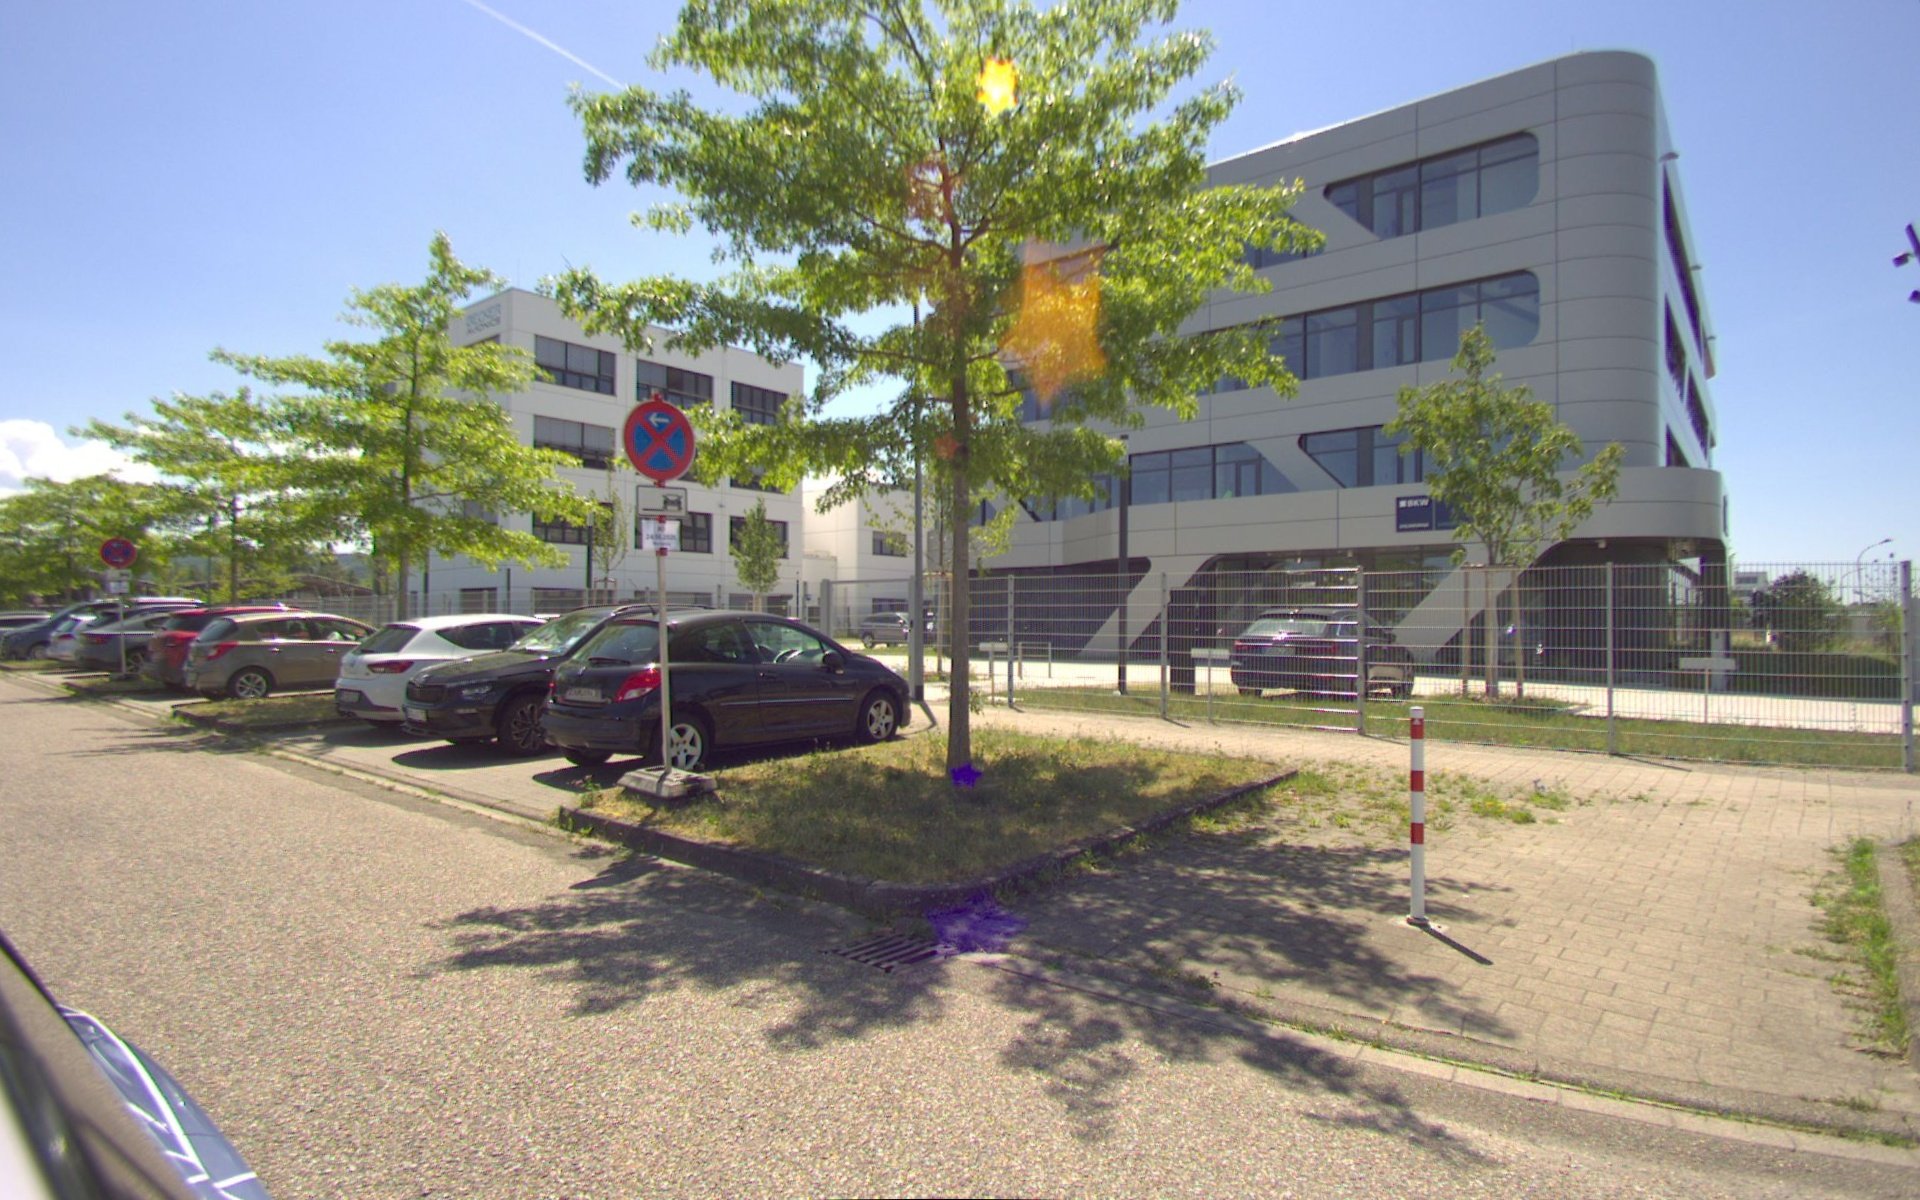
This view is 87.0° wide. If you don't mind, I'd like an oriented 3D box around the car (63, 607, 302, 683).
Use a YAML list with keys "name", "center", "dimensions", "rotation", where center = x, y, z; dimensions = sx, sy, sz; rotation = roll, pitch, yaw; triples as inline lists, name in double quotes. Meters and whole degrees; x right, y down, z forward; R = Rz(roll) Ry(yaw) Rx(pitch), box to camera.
- name: "car"
  center: [-17.988, 0.970, 23.576]
  dimensions: [1.711, 1.491, 4.150]
  rotation: [-1, 1, 40]

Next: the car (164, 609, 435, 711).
- name: "car"
  center: [-11.483, 0.967, 17.778]
  dimensions: [1.728, 1.520, 3.623]
  rotation: [-1, 0, 36]

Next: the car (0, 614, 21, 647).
- name: "car"
  center: [-49.421, 1.570, 50.357]
  dimensions: [1.728, 1.604, 3.863]
  rotation: [-2, 0, 44]

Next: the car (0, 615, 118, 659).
- name: "car"
  center: [-33.931, 1.347, 36.916]
  dimensions: [1.855, 1.458, 4.667]
  rotation: [-2, 0, 39]

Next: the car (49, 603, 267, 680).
- name: "car"
  center: [-20.059, 0.975, 25.464]
  dimensions: [1.773, 1.691, 3.952]
  rotation: [-1, 1, 35]

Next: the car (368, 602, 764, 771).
- name: "car"
  center: [-4.365, 0.830, 11.683]
  dimensions: [1.783, 1.532, 3.888]
  rotation: [-1, 1, 39]

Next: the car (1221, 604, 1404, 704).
- name: "car"
  center: [5.651, 0.835, 16.026]
  dimensions: [1.676, 1.401, 3.444]
  rotation: [-1, -3, 39]

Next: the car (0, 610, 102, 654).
- name: "car"
  center: [-37.195, 1.275, 40.555]
  dimensions: [1.727, 1.647, 4.074]
  rotation: [-2, 0, 42]

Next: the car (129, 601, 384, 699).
- name: "car"
  center: [-13.417, 0.876, 19.451]
  dimensions: [1.815, 1.633, 3.699]
  rotation: [-1, 0, 41]

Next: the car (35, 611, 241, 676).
- name: "car"
  center: [-21.797, 1.098, 26.982]
  dimensions: [1.602, 1.472, 4.000]
  rotation: [-1, 1, 37]

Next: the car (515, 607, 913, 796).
- name: "car"
  center: [-2.286, 0.836, 10.132]
  dimensions: [1.724, 1.446, 3.592]
  rotation: [-1, 1, 37]

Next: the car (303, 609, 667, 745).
- name: "car"
  center: [-6.197, 0.889, 13.606]
  dimensions: [1.870, 1.434, 4.039]
  rotation: [-1, 0, 36]

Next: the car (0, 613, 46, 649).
- name: "car"
  center: [-44.401, 1.436, 46.165]
  dimensions: [1.725, 1.604, 3.802]
  rotation: [-2, 0, 38]

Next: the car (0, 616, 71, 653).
- name: "car"
  center: [-42.048, 1.540, 44.591]
  dimensions: [1.806, 1.524, 4.128]
  rotation: [-3, -1, 42]

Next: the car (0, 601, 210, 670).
- name: "car"
  center: [-26.341, 1.021, 31.090]
  dimensions: [1.996, 1.906, 5.016]
  rotation: [-1, 0, 41]

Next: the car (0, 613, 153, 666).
- name: "car"
  center: [-28.690, 1.232, 32.604]
  dimensions: [1.763, 1.495, 3.928]
  rotation: [-1, 0, 40]
